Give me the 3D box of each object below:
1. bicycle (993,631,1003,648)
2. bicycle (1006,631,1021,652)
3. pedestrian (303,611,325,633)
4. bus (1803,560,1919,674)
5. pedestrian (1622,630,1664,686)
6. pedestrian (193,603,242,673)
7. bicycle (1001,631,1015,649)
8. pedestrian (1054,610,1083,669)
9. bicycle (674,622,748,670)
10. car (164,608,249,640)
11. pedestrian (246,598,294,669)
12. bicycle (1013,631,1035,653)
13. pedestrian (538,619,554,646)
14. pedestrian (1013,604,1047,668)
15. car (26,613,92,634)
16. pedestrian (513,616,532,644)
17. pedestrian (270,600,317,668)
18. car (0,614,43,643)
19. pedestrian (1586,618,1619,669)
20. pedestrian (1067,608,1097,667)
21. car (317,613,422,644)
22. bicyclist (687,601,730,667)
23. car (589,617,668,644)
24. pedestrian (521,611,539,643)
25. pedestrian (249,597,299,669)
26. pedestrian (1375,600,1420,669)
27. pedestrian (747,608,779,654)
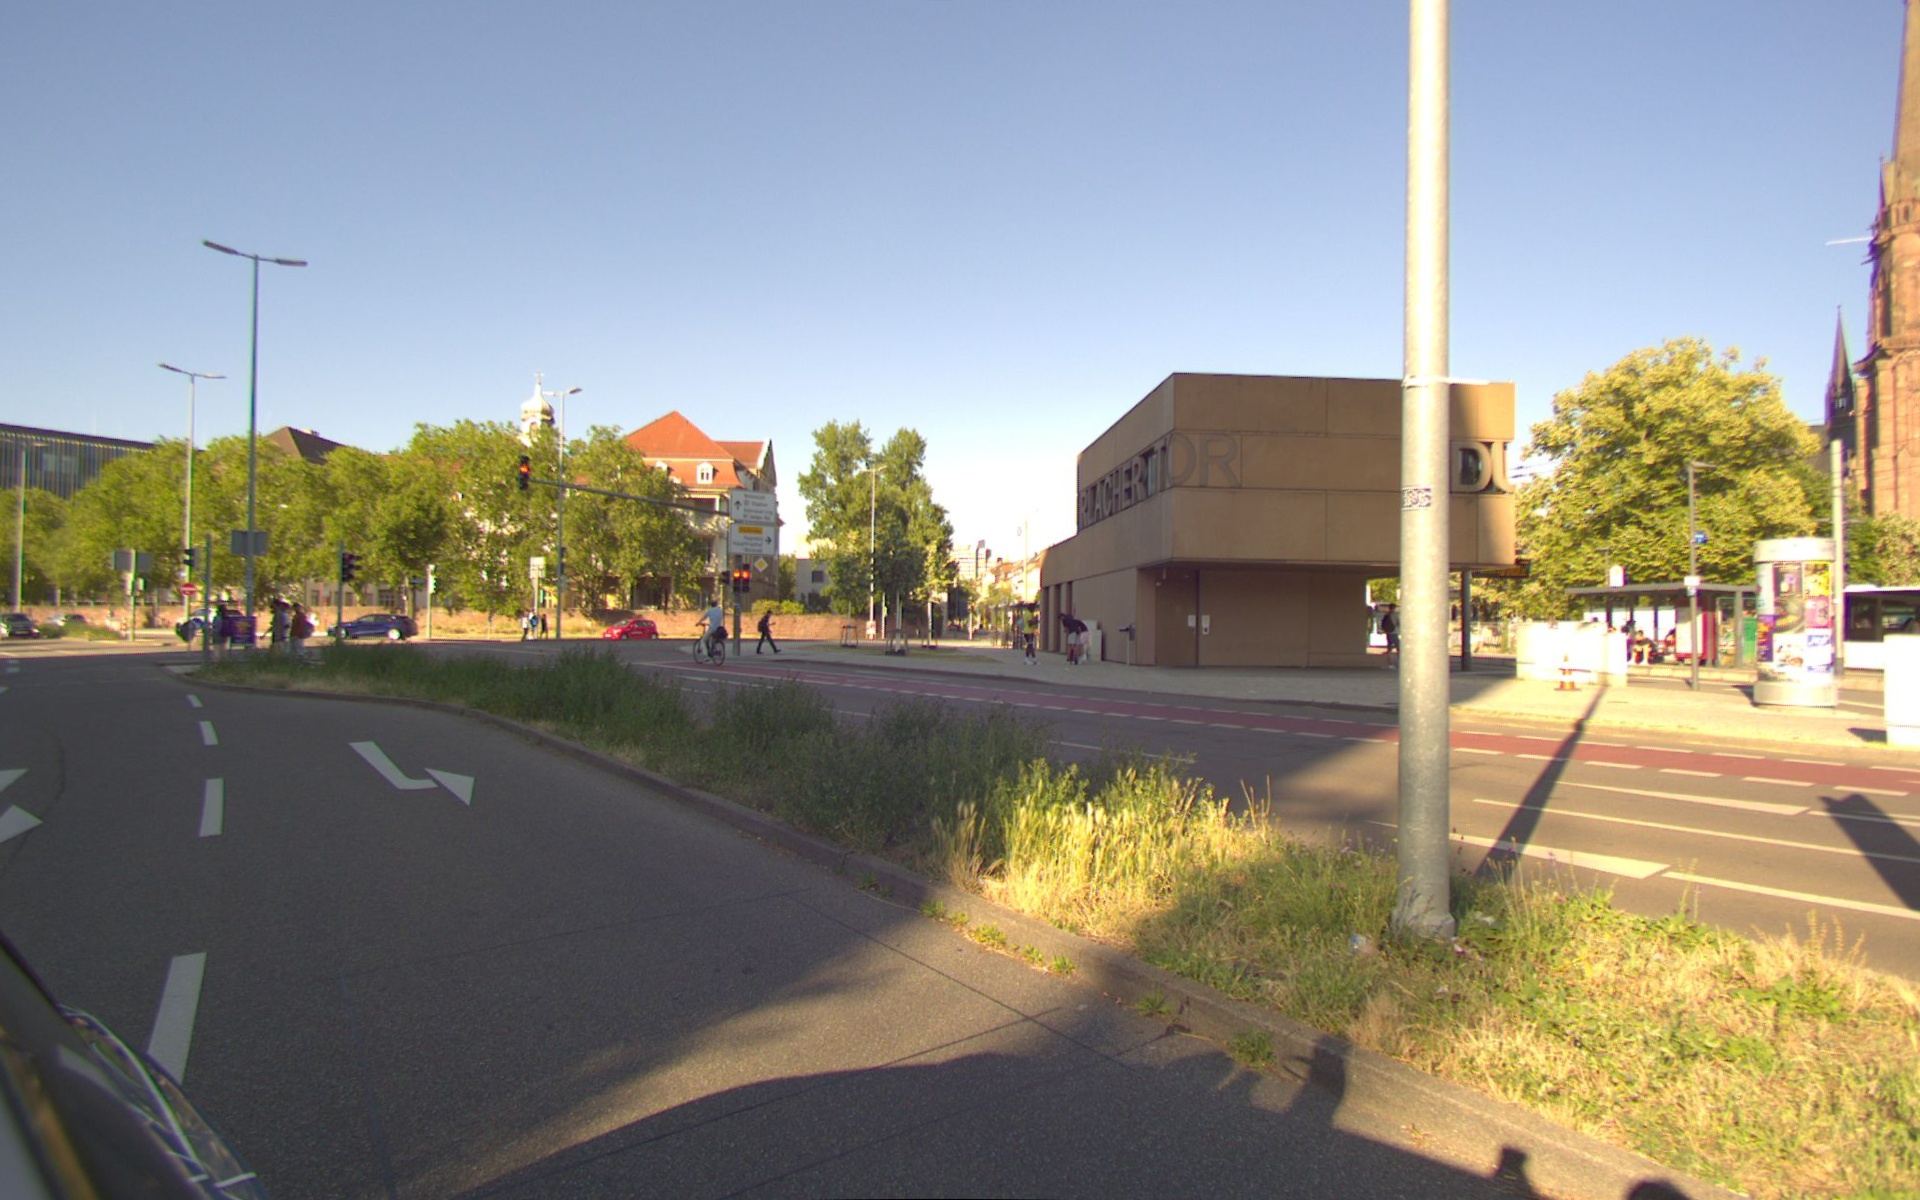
[{"bbox_3d":[2.448,2.567,65.485,0.559,1.062,1.973,-1,-1,1],"label":"bicycle"},{"bbox_3d":[3.070,2.388,58.336,0.558,1.114,1.975,-1,-1,-4],"label":"bicycle"},{"bbox_3d":[-45.170,1.517,70.738,0.920,1.548,0.962,0,-2,35],"label":"pedestrian"},{"bbox_3d":[29.954,0.646,27.387,3.202,3.342,12.200,4,1,-4],"label":"bus"},{"bbox_3d":[24.569,2.074,36.423,0.966,1.997,0.719,1,-2,-2],"label":"pedestrian"},{"bbox_3d":[-19.129,0.970,26.068,0.913,1.754,0.758,2,-2,-40],"label":"pedestrian"},{"bbox_3d":[3.020,2.501,63.814,0.558,1.062,1.976,-1,-1,-7],"label":"bicycle"},{"bbox_3d":[3.161,1.166,29.619,0.628,1.702,0.551,0,-3,-17],"label":"pedestrian"},{"bbox_3d":[-7.138,1.289,28.926,2.556,1.265,0.732,0,-1,42],"label":"bicycle"},{"bbox_3d":[-43.787,1.404,58.783,4.584,1.697,2.175,-2,-3,27],"label":"car"},{"bbox_3d":[-17.590,0.850,25.810,0.913,1.754,0.758,2,-2,-40],"label":"pedestrian"},{"bbox_3d":[3.425,2.248,54.221,0.733,1.114,2.128,-1,-2,-8],"label":"bicycle"},{"bbox_3d":[-26.320,2.044,64.332,0.780,1.665,0.715,3,1,-14],"label":"pedestrian"},{"bbox_3d":[2.052,1.055,29.682,0.706,1.849,0.641,0,-3,-30],"label":"pedestrian"},{"bbox_3d":[-69.911,1.818,78.553,4.333,1.632,2.140,0,-2,22],"label":"car"},{"bbox_3d":[-26.763,1.827,61.885,0.858,1.686,0.715,2,1,-34],"label":"pedestrian"},{"bbox_3d":[-17.657,0.894,26.823,0.913,1.754,0.789,2,-2,-40],"label":"pedestrian"},{"bbox_3d":[-51.657,1.541,55.085,4.012,1.530,1.901,0,-2,38],"label":"car"},{"bbox_3d":[25.807,1.749,40.681,0.804,1.997,0.755,1,-2,-2],"label":"pedestrian"},{"bbox_3d":[3.690,1.125,30.586,0.725,1.744,0.665,-1,-3,-5],"label":"pedestrian"},{"bbox_3d":[-31.791,1.547,54.626,4.528,1.598,2.202,-1,-3,-17],"label":"car"},{"bbox_3d":[-7.207,0.948,28.981,1.013,1.846,0.732,0,-1,41],"label":"bicyclist"},{"bbox_3d":[-20.939,1.967,64.150,2.185,1.598,4.563,-2,-3,27],"label":"car"},{"bbox_3d":[-26.698,1.682,62.812,0.858,1.908,0.715,2,1,-34],"label":"pedestrian"},{"bbox_3d":[-17.070,0.817,25.171,0.913,1.754,0.758,2,-2,-40],"label":"pedestrian"},{"bbox_3d":[12.826,1.012,29.672,0.966,1.997,0.719,1,-2,-4],"label":"pedestrian"},{"bbox_3d":[-7.407,1.179,38.046,0.885,1.697,0.749,2,-2,-40],"label":"pedestrian"}]
